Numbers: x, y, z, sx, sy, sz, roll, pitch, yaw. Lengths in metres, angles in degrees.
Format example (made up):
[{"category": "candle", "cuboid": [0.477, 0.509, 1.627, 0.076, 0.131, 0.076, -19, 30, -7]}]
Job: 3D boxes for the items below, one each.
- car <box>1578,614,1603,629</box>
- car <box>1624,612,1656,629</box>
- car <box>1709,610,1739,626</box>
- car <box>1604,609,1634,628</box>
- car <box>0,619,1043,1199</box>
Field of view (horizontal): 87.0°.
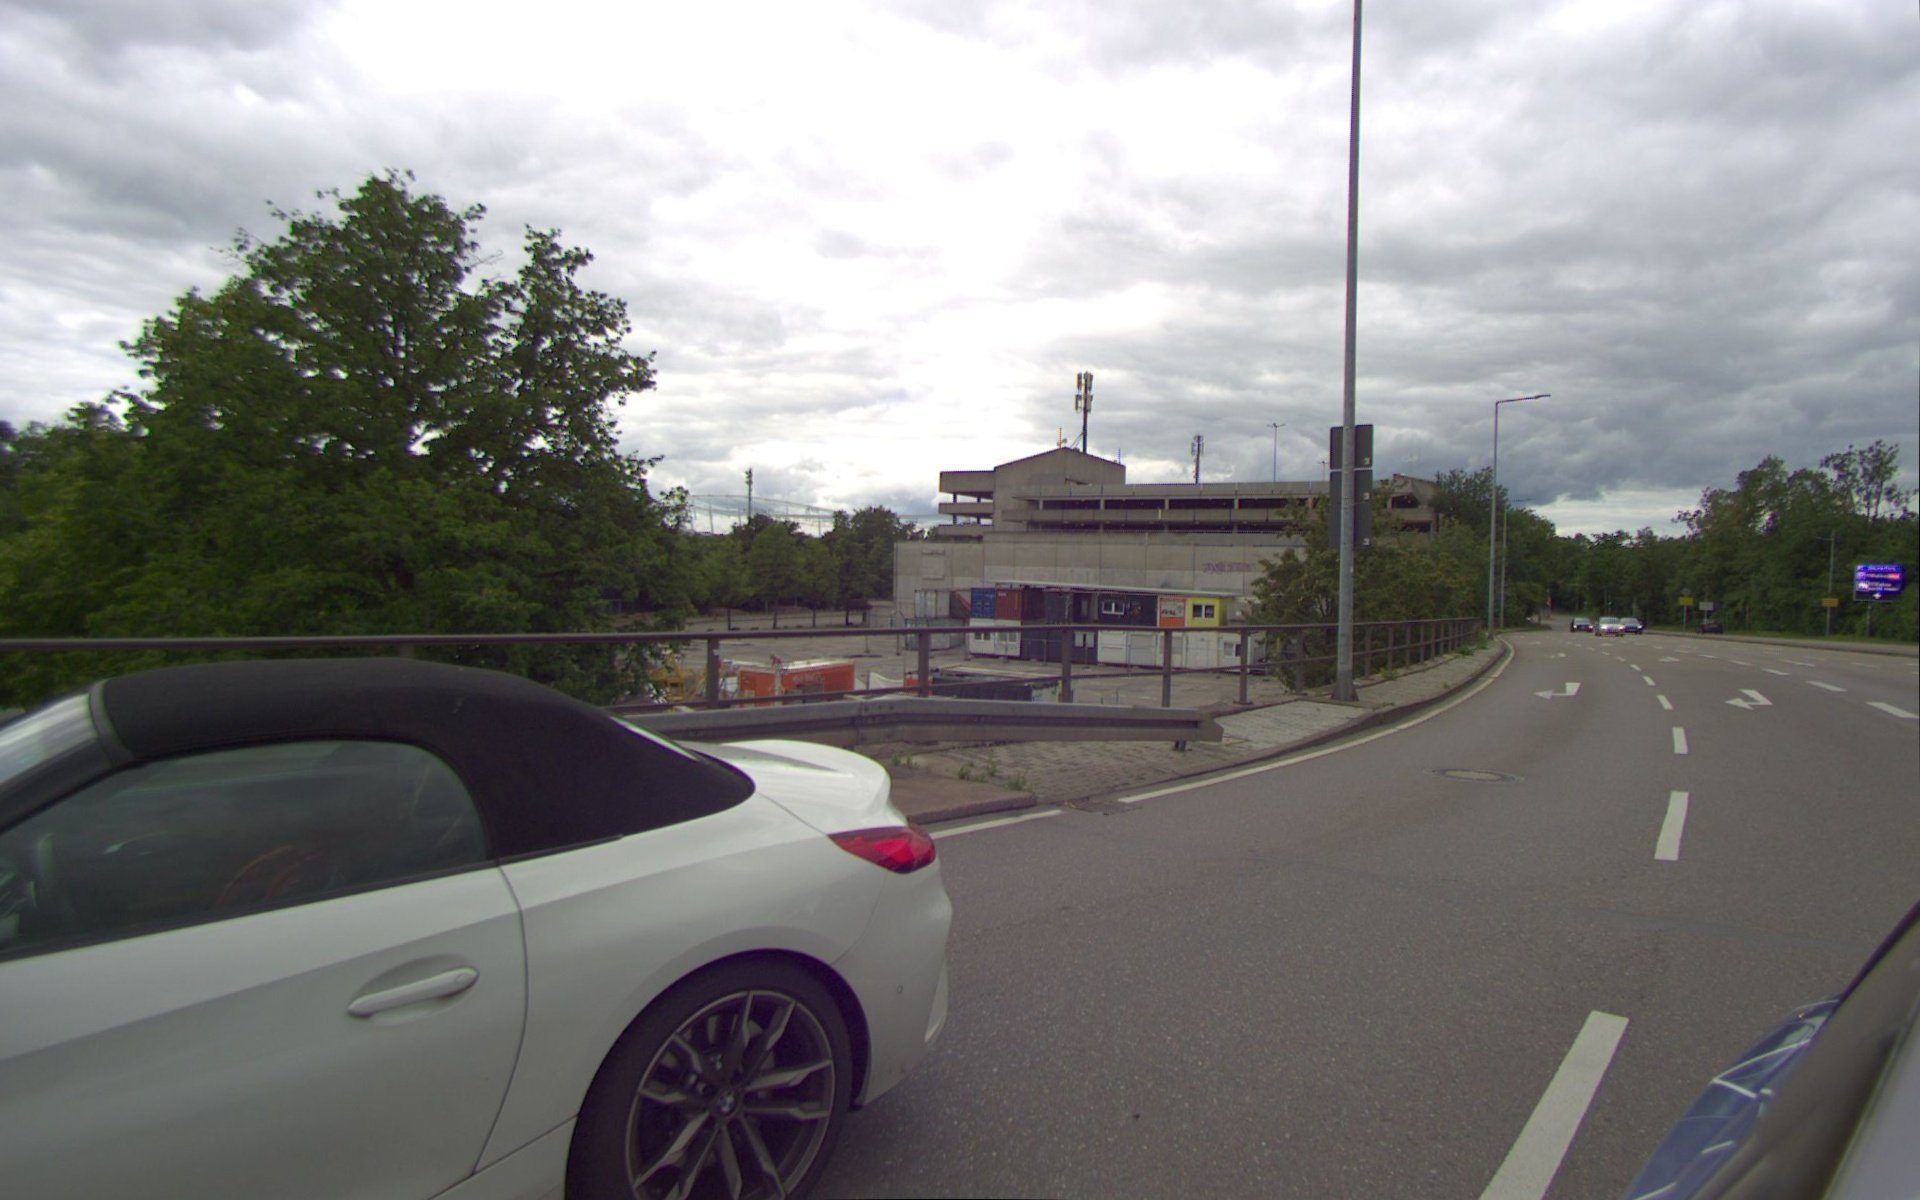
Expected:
[{"category": "car", "cuboid": [62.275, 2.086, 99.992, 1.850, 1.434, 4.292, 1, 0, 30]}, {"category": "car", "cuboid": [60.691, 1.824, 90.421, 1.826, 1.434, 4.537, 1, 0, 27]}, {"category": "car", "cuboid": [73.919, 1.680, 97.976, 1.689, 1.483, 3.960, -1, 0, 28]}, {"category": "car", "cuboid": [50.346, 1.403, 77.371, 1.596, 1.434, 3.555, 1, 0, 29]}, {"category": "car", "cuboid": [-1.954, 0.729, 2.224, 4.186, 1.308, 1.809, 0, 0, -39]}]
